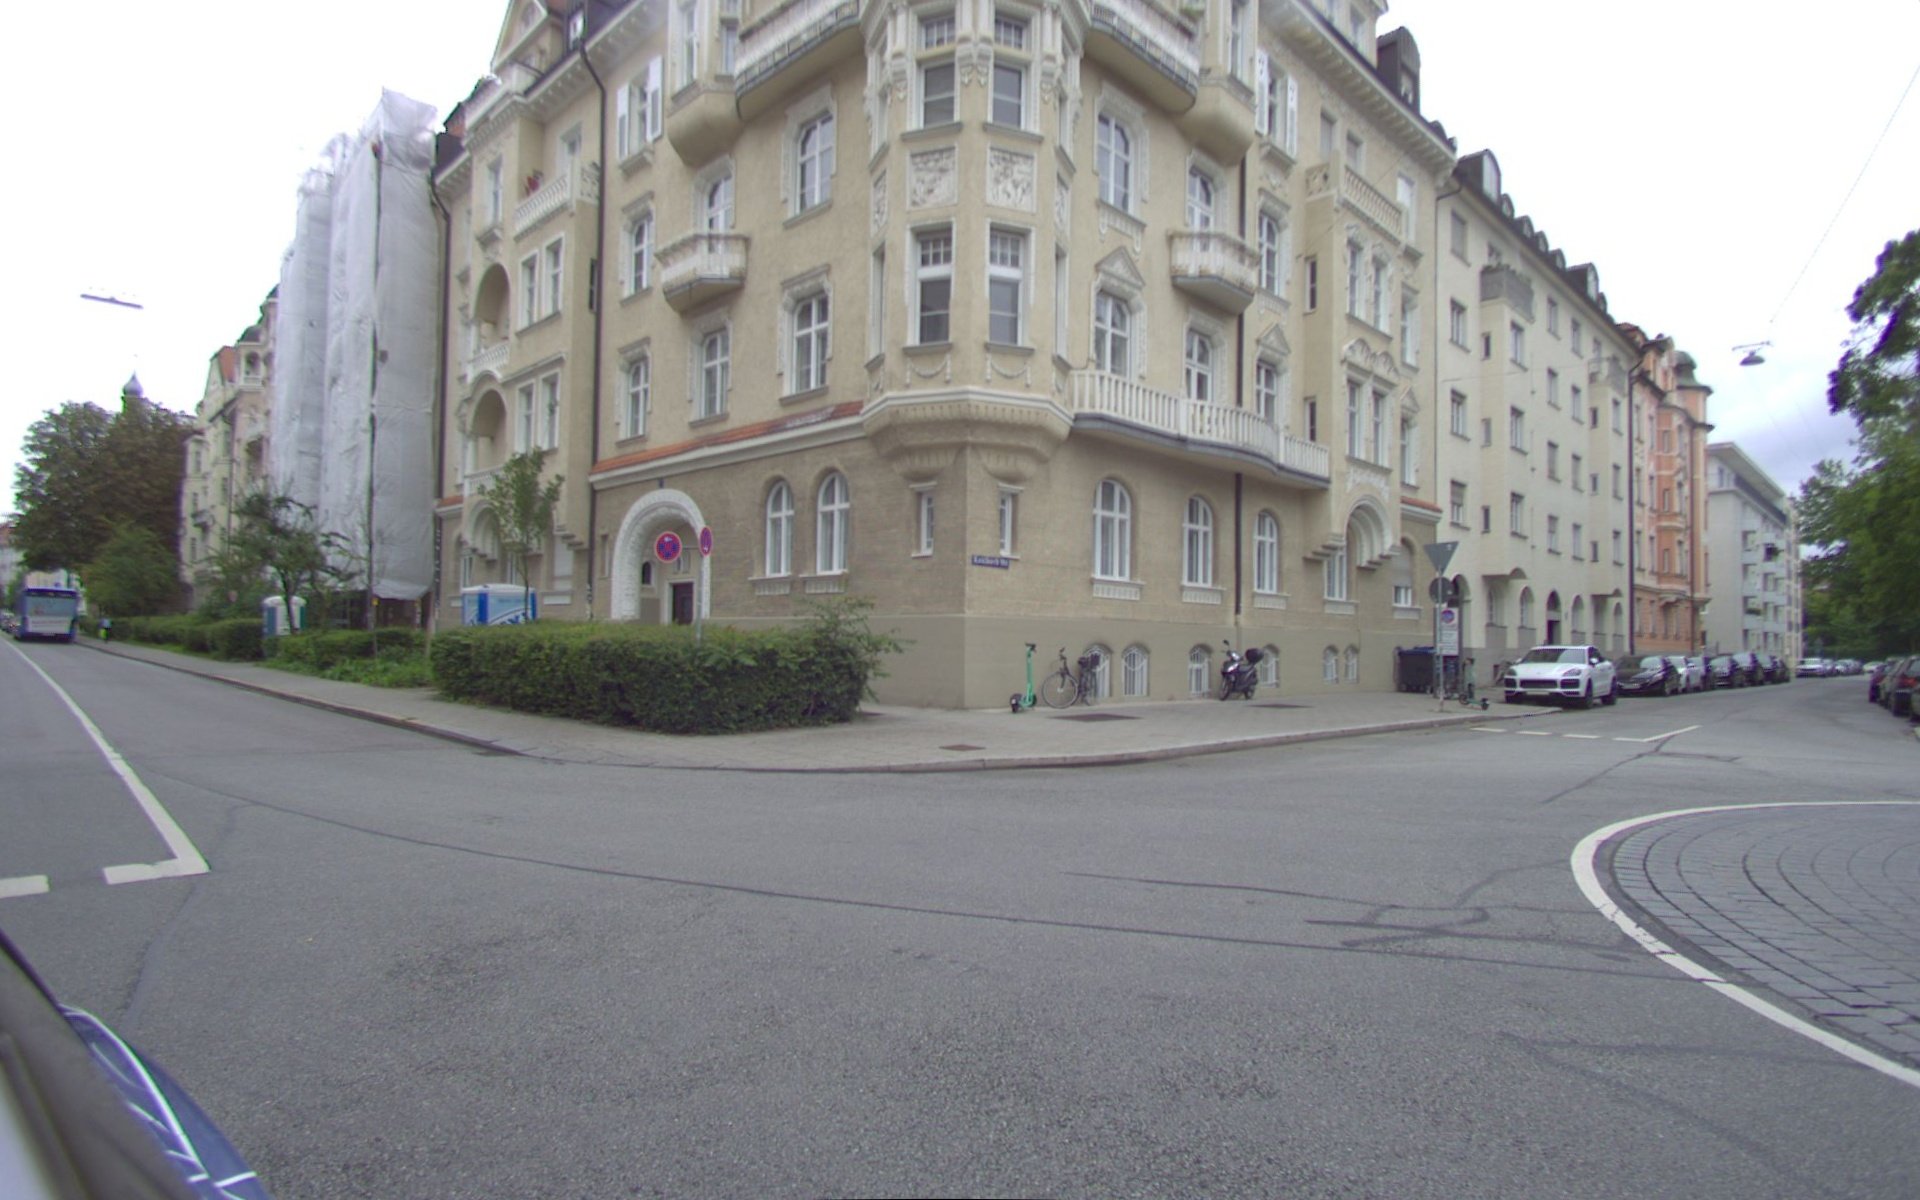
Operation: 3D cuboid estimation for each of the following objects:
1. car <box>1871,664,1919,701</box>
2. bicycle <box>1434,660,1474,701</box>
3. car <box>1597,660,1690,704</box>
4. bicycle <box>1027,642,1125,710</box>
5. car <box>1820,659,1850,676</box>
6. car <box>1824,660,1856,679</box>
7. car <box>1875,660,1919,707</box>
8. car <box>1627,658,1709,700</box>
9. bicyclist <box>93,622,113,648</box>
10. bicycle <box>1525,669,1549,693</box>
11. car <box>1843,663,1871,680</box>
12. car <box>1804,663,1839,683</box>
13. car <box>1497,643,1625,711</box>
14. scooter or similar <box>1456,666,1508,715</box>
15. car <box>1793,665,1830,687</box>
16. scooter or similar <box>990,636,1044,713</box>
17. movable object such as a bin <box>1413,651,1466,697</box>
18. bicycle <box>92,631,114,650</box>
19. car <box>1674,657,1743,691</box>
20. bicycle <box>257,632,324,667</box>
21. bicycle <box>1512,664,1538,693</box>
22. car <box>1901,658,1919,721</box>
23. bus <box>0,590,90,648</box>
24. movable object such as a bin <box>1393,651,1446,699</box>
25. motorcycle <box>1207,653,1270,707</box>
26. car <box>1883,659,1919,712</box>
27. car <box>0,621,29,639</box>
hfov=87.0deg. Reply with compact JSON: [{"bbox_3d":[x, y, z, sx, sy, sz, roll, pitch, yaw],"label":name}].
[{"bbox_3d":[38.998,3.405,41.948,1.675,1.468,3.624,-4,-6,43],"label":"car"},{"bbox_3d":[13.493,2.173,27.606,0.652,1.077,1.951,-1,-3,36],"label":"bicycle"},{"bbox_3d":[23.924,2.827,35.385,2.000,1.369,4.414,-1,-3,44],"label":"car"},{"bbox_3d":[2.246,1.421,19.348,0.698,1.212,2.308,-1,-3,40],"label":"bicycle"},{"bbox_3d":[85.461,6.577,98.862,1.954,1.651,3.941,-2,-4,45],"label":"car"},{"bbox_3d":[81.224,6.401,93.414,1.954,1.651,3.941,-2,-4,45],"label":"car"},{"bbox_3d":[31.628,2.745,33.612,1.675,1.468,3.624,-4,-6,43],"label":"car"},{"bbox_3d":[27.188,3.003,38.810,2.000,1.461,4.120,-1,-3,44],"label":"car"},{"bbox_3d":[-49.881,2.014,58.910,1.061,1.504,0.759,-1,-2,44],"label":"bicyclist"},{"bbox_3d":[23.540,3.277,41.245,0.652,0.909,1.792,-1,-3,36],"label":"bicycle"},{"bbox_3d":[93.638,7.445,105.609,1.954,1.651,3.941,-2,-4,45],"label":"car"},{"bbox_3d":[74.015,6.273,86.912,1.954,1.651,3.941,-2,-4,45],"label":"car"},{"bbox_3d":[16.605,2.069,27.868,2.000,1.689,4.918,-1,-3,43],"label":"car"},{"bbox_3d":[12.650,2.182,24.557,0.535,1.117,1.346,1,-3,0],"label":"scooter or similar"},{"bbox_3d":[67.984,6.029,80.798,1.954,1.651,3.941,-2,-4,45],"label":"car"},{"bbox_3d":[1.008,1.293,17.750,0.457,1.281,1.273,0,-3,27],"label":"scooter or similar"},{"bbox_3d":[15.038,2.309,31.735,1.163,1.381,1.149,3,-3,-43],"label":"movable object such as a bin"},{"bbox_3d":[-49.892,2.337,58.924,2.050,1.090,0.759,-1,-2,44],"label":"bicycle"},{"bbox_3d":[33.999,3.333,45.930,2.000,1.386,4.120,-1,-3,44],"label":"car"},{"bbox_3d":[-23.176,1.697,35.046,1.838,1.085,0.691,-2,1,-43],"label":"bicycle"},{"bbox_3d":[21.793,3.003,39.016,0.652,1.077,1.792,-1,-3,36],"label":"bicycle"},{"bbox_3d":[25.228,2.255,25.828,1.675,1.540,3.624,-4,-6,43],"label":"car"},{"bbox_3d":[-59.895,1.269,65.748,18.060,3.236,3.136,-1,-5,44],"label":"bus"},{"bbox_3d":[14.056,2.275,30.952,1.163,1.381,1.149,3,-3,-43],"label":"movable object such as a bin"},{"bbox_3d":[6.454,1.833,23.416,0.742,1.195,1.722,-1,-3,41],"label":"motorcycle"},{"bbox_3d":[28.188,2.473,29.541,1.675,1.468,3.624,-4,-6,43],"label":"car"},{"bbox_3d":[-78.528,2.505,83.960,1.698,1.417,4.006,3,-3,-40],"label":"car"}]
